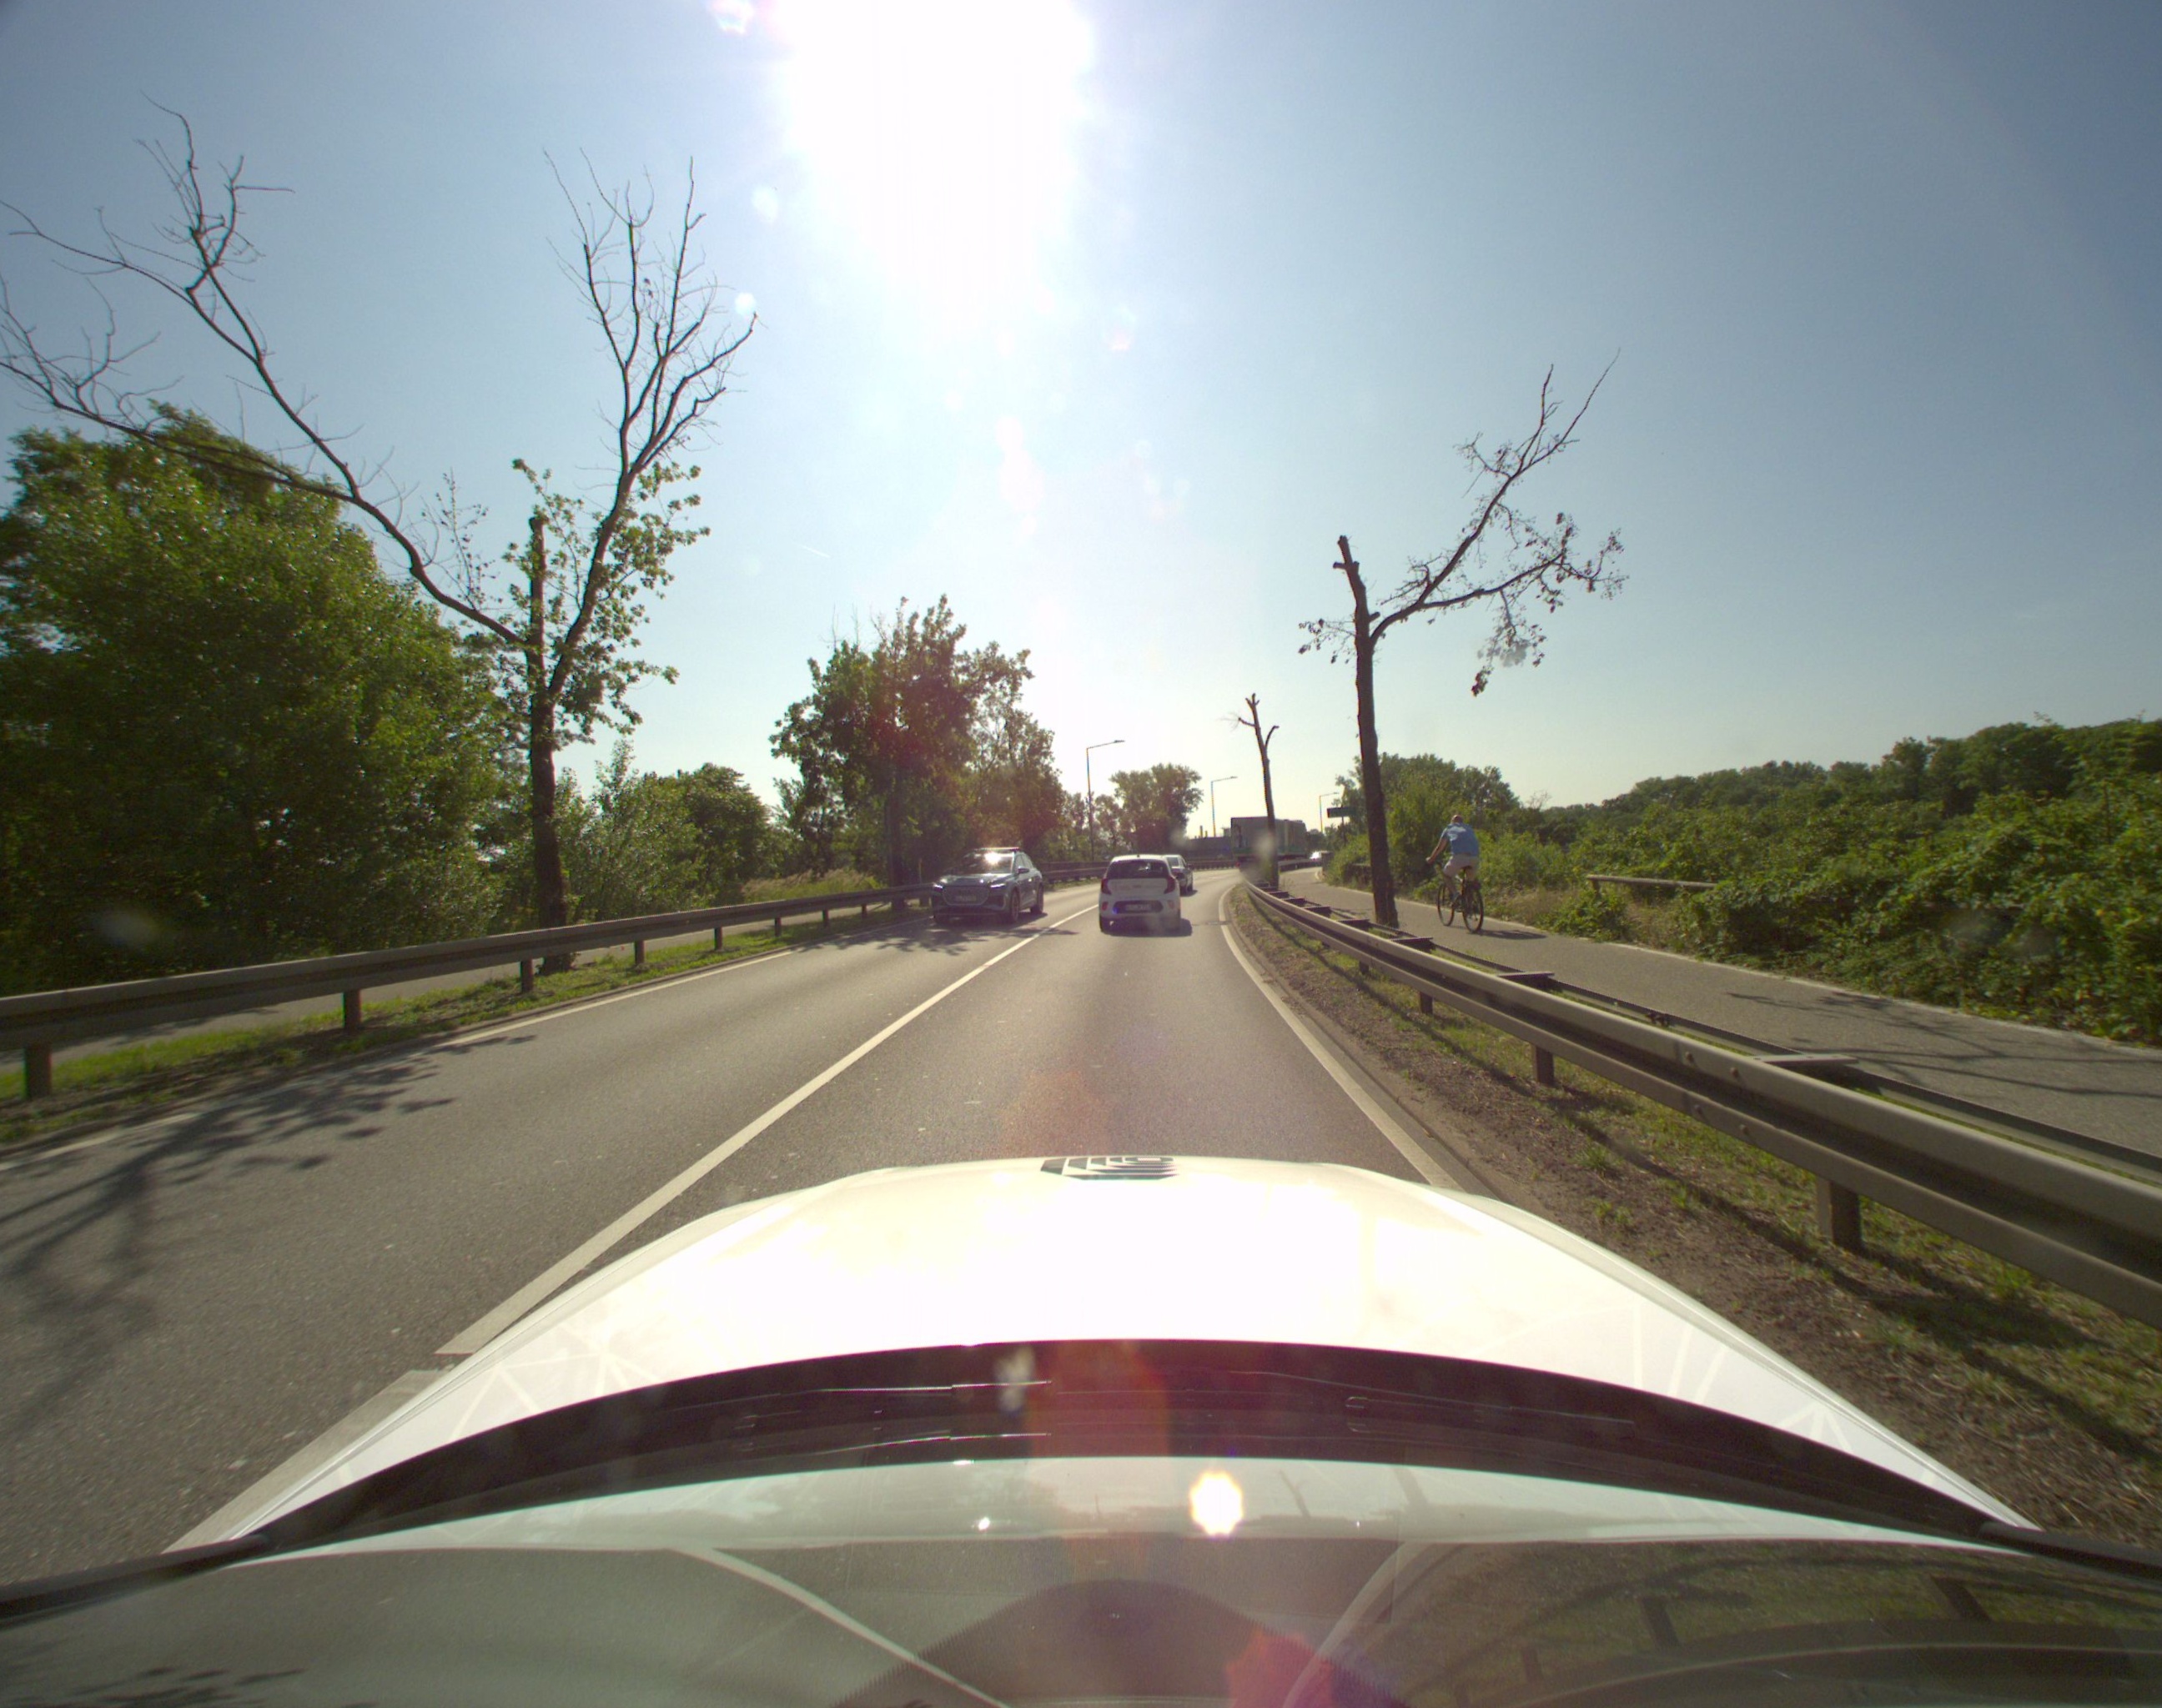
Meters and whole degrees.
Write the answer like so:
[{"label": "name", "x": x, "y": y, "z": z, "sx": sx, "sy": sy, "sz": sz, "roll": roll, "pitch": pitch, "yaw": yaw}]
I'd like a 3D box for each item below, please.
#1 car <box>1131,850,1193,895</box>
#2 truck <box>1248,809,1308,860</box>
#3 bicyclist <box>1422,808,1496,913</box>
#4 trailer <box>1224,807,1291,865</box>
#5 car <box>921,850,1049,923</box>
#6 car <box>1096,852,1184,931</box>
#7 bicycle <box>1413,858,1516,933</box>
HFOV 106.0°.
[{"label": "car", "x": 3.091, "y": 0.613, "z": 30.090, "sx": 1.927, "sy": 1.486, "sz": 4.913, "roll": -1, "pitch": 0, "yaw": 9}, {"label": "truck", "x": 15.684, "y": -1.587, "z": 64.364, "sx": 3.231, "sy": 3.757, "sz": 8.418, "roll": 0, "pitch": 2, "yaw": 23}, {"label": "bicyclist", "x": 5.865, "y": 0.111, "z": 12.673, "sx": 0.656, "sy": 1.520, "sz": 0.803, "roll": -5, "pitch": -2, "yaw": 2}, {"label": "trailer", "x": 12.482, "y": -1.317, "z": 56.996, "sx": 3.196, "sy": 3.757, "sz": 7.869, "roll": 0, "pitch": 2, "yaw": 23}, {"label": "car", "x": -2.152, "y": 0.702, "z": 19.543, "sx": 1.918, "sy": 1.533, "sz": 4.128, "roll": -1, "pitch": 0, "yaw": 10}, {"label": "car", "x": 1.313, "y": 0.719, "z": 17.734, "sx": 1.693, "sy": 1.494, "sz": 4.006, "roll": -1, "pitch": 1, "yaw": 5}, {"label": "bicycle", "x": 5.920, "y": 0.614, "z": 12.700, "sx": 0.699, "sy": 1.020, "sz": 1.846, "roll": -5, "pitch": -1, "yaw": 2}]
